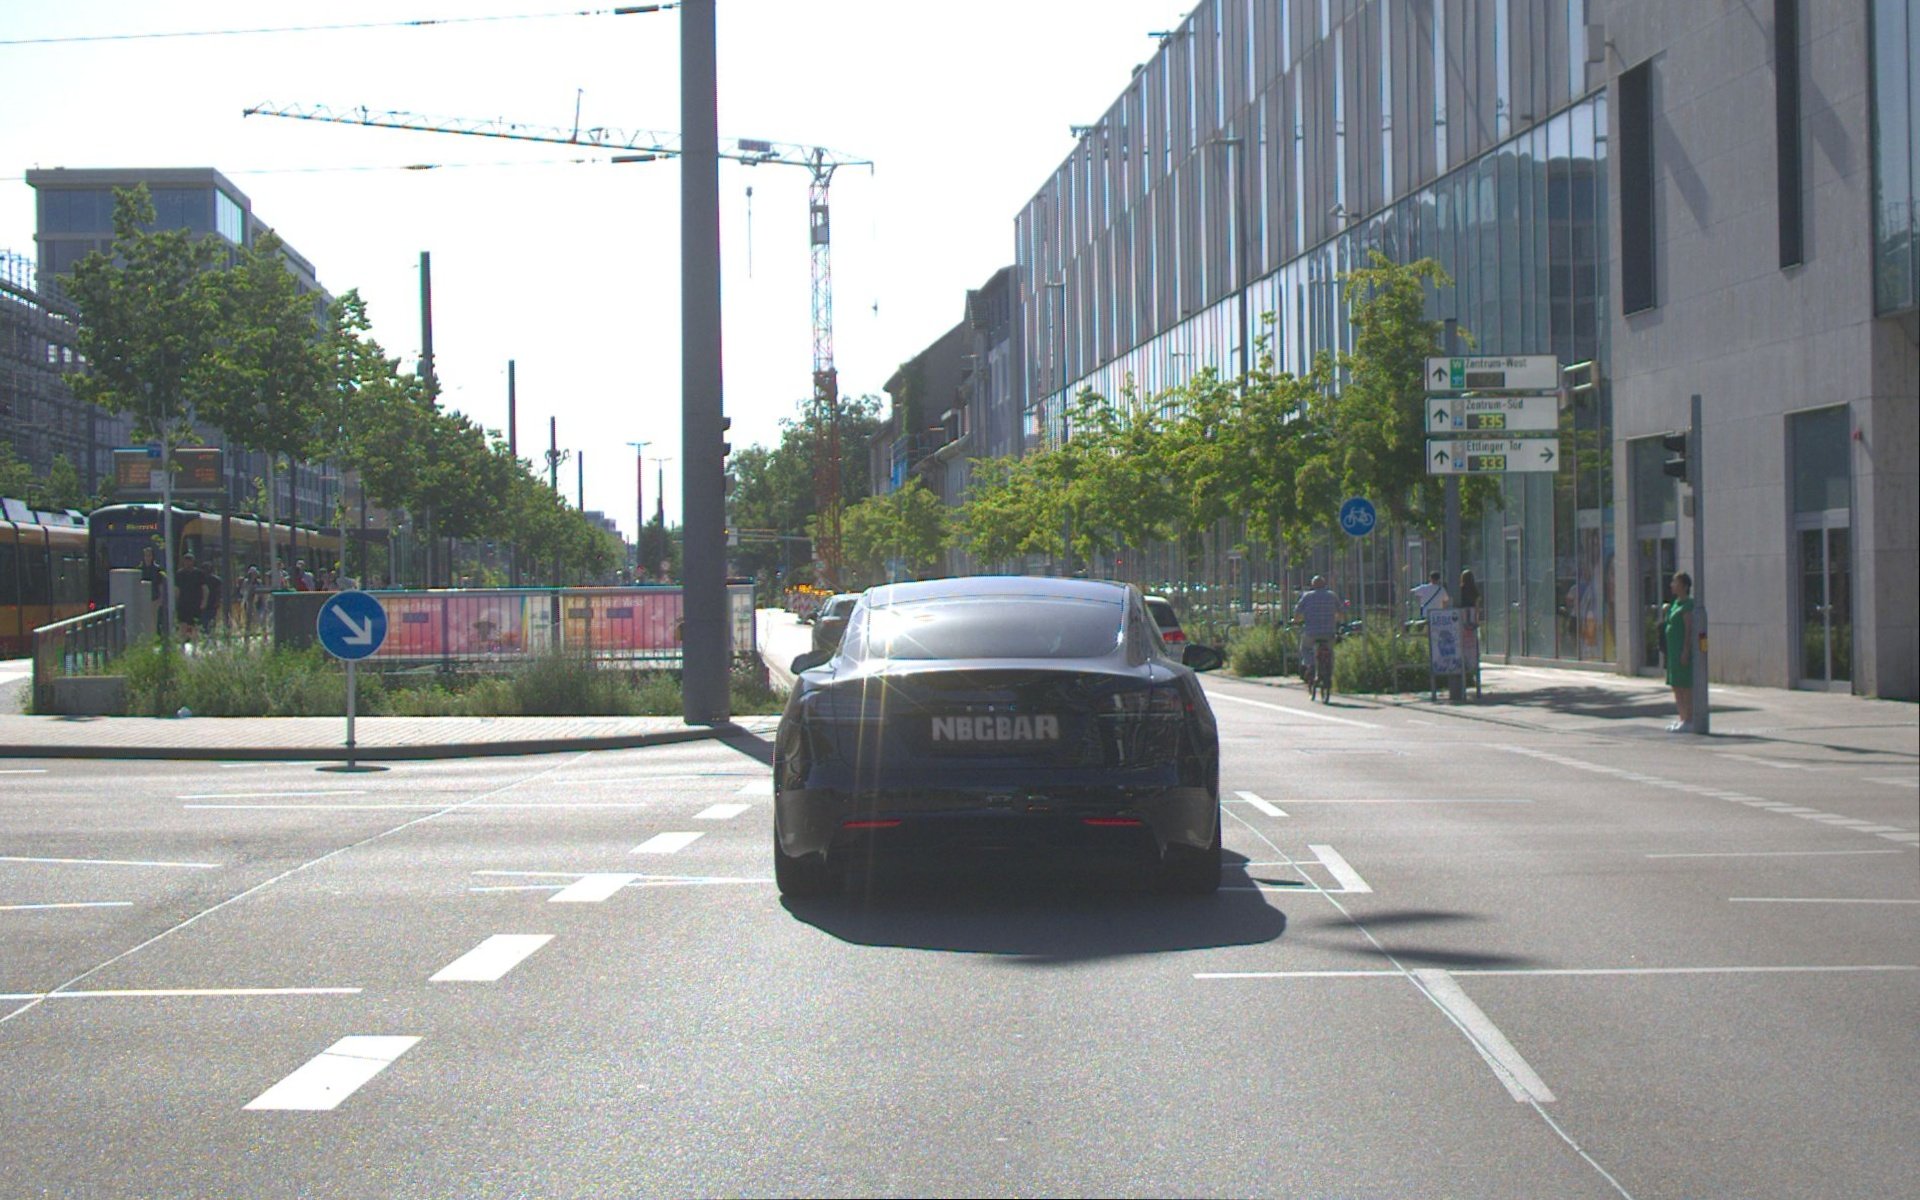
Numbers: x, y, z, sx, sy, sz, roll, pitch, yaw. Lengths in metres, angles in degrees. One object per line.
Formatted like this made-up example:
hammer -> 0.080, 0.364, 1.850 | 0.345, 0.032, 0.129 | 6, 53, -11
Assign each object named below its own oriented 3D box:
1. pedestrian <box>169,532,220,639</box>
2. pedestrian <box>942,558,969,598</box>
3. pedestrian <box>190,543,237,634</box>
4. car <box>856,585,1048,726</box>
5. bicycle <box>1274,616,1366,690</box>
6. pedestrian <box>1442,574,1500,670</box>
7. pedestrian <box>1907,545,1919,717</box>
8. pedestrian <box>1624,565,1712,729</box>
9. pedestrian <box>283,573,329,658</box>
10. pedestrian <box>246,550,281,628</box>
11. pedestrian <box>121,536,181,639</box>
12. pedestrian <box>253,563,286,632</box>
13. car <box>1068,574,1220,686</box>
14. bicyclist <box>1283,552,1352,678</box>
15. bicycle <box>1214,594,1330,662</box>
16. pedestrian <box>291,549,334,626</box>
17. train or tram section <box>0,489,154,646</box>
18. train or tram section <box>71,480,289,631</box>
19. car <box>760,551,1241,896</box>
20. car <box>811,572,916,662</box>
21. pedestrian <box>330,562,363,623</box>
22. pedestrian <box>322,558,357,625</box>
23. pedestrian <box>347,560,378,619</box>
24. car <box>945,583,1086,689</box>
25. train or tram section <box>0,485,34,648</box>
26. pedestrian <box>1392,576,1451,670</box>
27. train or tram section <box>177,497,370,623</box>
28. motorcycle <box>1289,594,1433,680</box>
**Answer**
pedestrian -> -12.833, -0.248, 57.652 | 0.703, 1.769, 0.959 | 1, 1, -7
pedestrian -> -0.228, -1.053, 161.923 | 1.095, 1.857, 1.523 | -1, 0, -5
pedestrian -> -14.767, -0.234, 68.050 | 0.790, 1.769, 0.979 | 1, 1, -7
car -> -0.134, 0.522, 34.924 | 1.716, 1.315, 4.001 | 0, 1, -3
bicycle -> 5.028, 0.733, 48.166 | 0.728, 0.980, 2.334 | 2, 0, -8
pedestrian -> 8.983, 0.378, 60.442 | 0.706, 1.652, 0.900 | -3, 0, -8
pedestrian -> 10.414, 0.311, 35.720 | 0.728, 1.795, 1.066 | -3, 0, -4
pedestrian -> 7.528, 0.488, 36.566 | 0.657, 1.696, 0.698 | -3, 1, -6
pedestrian -> -12.673, 0.299, 66.635 | 0.741, 1.623, 0.861 | 0, 0, -3
pedestrian -> -16.243, -0.261, 80.188 | 0.671, 1.804, 1.075 | -1, 0, -5
pedestrian -> -14.254, -0.230, 60.565 | 0.874, 1.769, 1.189 | 1, 1, -7
pedestrian -> -15.182, -0.054, 75.567 | 0.647, 1.507, 0.588 | 1, 1, -7
car -> 2.634, 0.403, 50.050 | 1.784, 1.541, 4.039 | 0, 1, -3
bicyclist -> 4.993, 0.204, 48.089 | 0.724, 1.731, 0.998 | -1, 0, -8
bicycle -> 5.841, 0.519, 64.478 | 2.085, 1.201, 0.950 | -2, 0, 2
pedestrian -> -15.612, -0.304, 82.911 | 0.887, 1.844, 1.007 | 0, 0, -4
train or tram section -> -21.641, -0.780, 80.596 | 2.847, 3.310, 15.968 | 1, 0, -4
train or tram section -> -18.754, -1.029, 83.730 | 2.870, 3.268, 15.187 | 1, 0, -4
car -> 0.070, 0.503, 16.503 | 1.999, 1.429, 4.413 | 0, 0, -3
car -> -1.791, 0.295, 64.242 | 1.888, 1.590, 4.000 | -1, 1, -1
pedestrian -> -16.441, -0.208, 92.140 | 0.741, 1.623, 0.861 | 0, 0, -3
pedestrian -> -15.155, -0.218, 83.952 | 0.741, 1.623, 0.861 | 0, 0, -3
pedestrian -> -16.576, -0.286, 95.325 | 0.741, 1.623, 0.861 | 0, 0, -3
car -> 0.751, 0.487, 49.202 | 1.716, 1.427, 4.001 | 0, 1, -3
train or tram section -> -20.579, -0.689, 66.119 | 2.870, 3.298, 13.075 | 1, 0, -4
pedestrian -> 8.133, 0.398, 60.612 | 0.820, 1.652, 0.900 | 0, 0, -8
train or tram section -> -20.123, -1.129, 102.337 | 2.870, 3.268, 22.146 | 1, 0, -4
motorcycle -> 6.484, 0.594, 55.635 | 2.189, 1.319, 0.903 | -2, 0, 0
